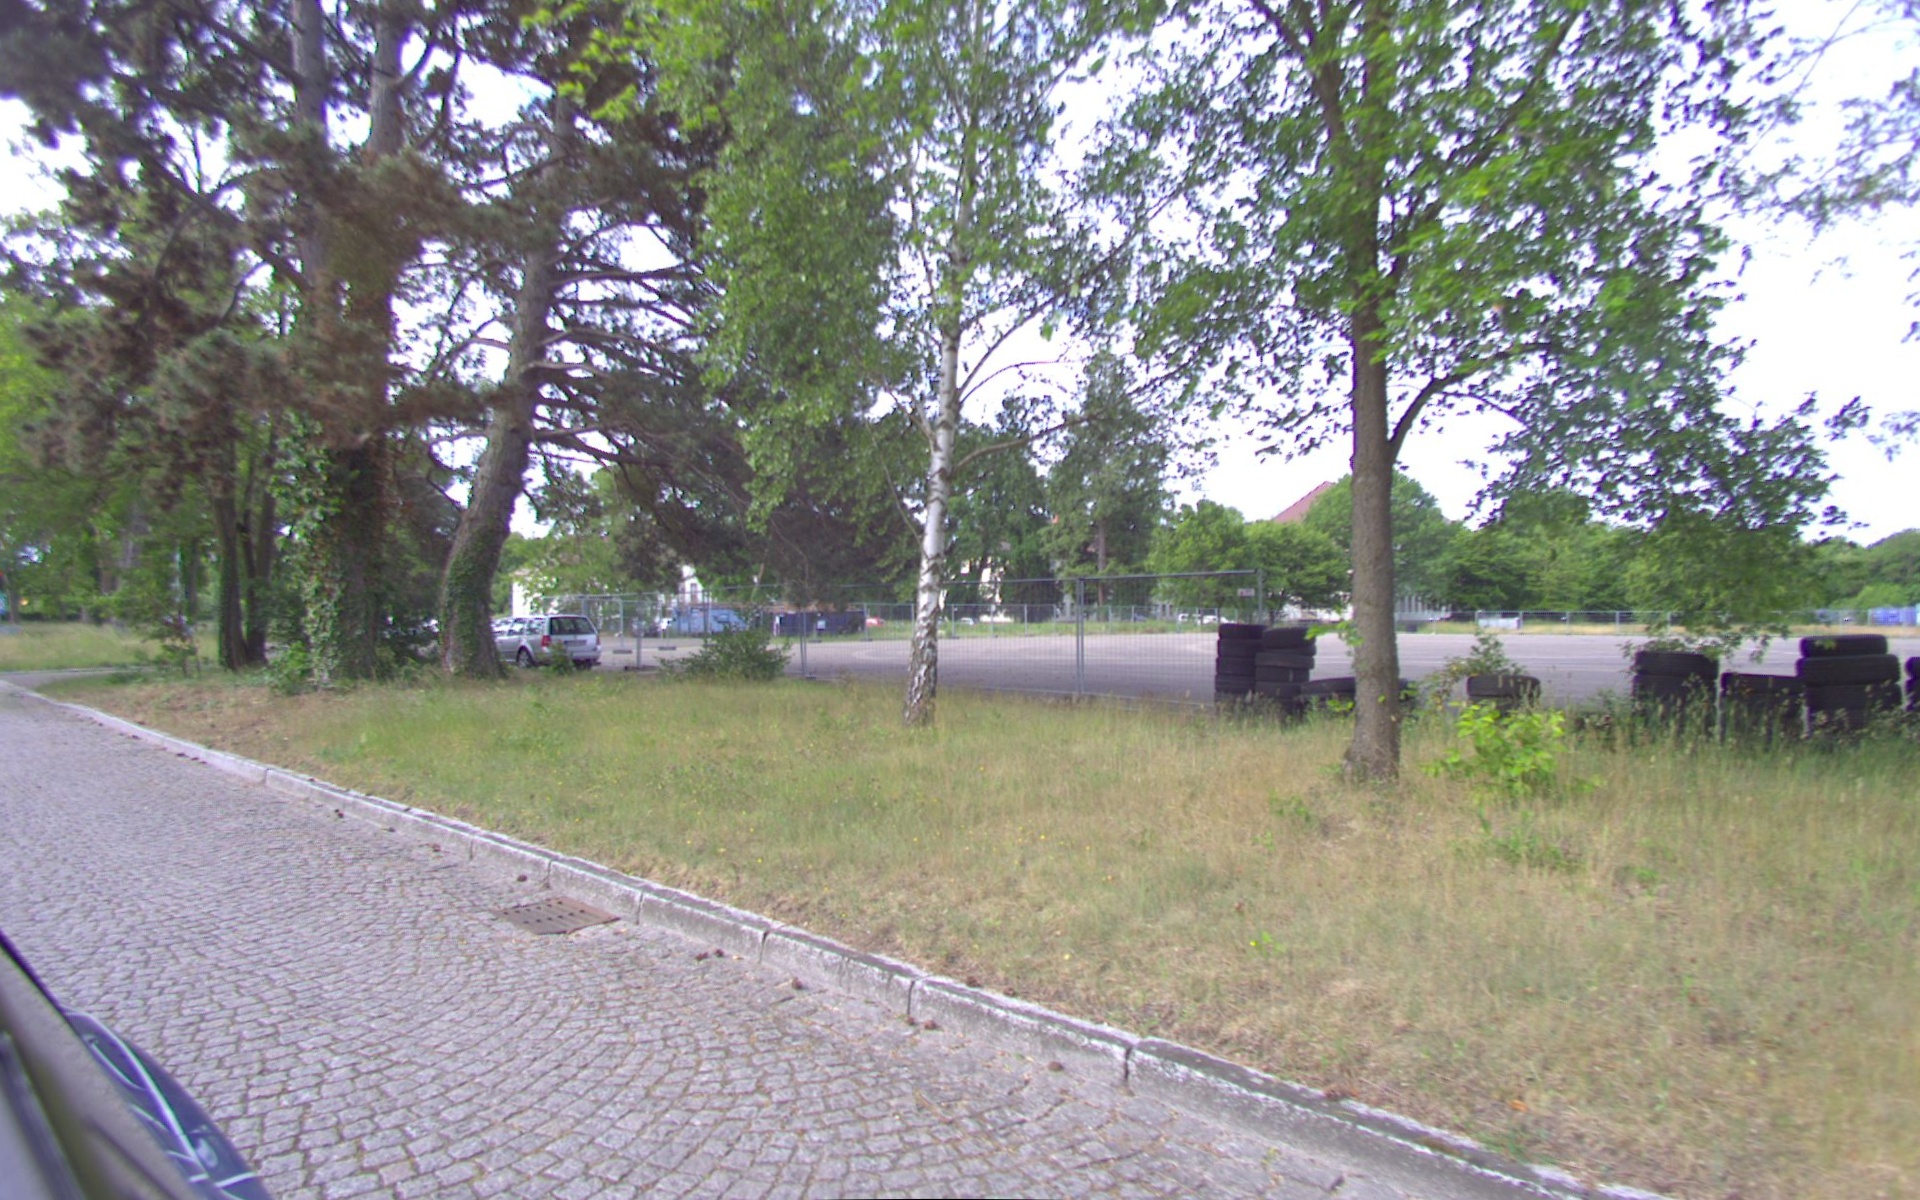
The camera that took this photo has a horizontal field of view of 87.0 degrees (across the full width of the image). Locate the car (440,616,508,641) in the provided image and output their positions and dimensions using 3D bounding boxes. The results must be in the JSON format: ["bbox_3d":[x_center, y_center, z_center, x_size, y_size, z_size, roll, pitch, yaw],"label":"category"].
[{"bbox_3d":[-29.645,1.712,61.655,4.446,1.460,1.975,-1,-1,38],"label":"car"}]

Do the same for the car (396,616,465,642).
[{"bbox_3d":[-31.225,1.703,59.649,4.446,1.460,1.975,-1,-1,38],"label":"car"}]

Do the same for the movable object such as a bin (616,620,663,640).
[{"bbox_3d":[-17.906,1.664,56.511,2.712,1.079,1.046,-1,-1,33],"label":"movable object such as a bin"}]

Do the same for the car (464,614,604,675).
[{"bbox_3d":[-10.629,1.059,25.147,3.719,1.421,1.649,-1,-1,39],"label":"car"}]

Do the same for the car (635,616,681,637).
[{"bbox_3d":[-25.032,2.191,83.835,3.797,1.696,1.728,-1,-1,36],"label":"car"}]

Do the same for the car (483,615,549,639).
[{"bbox_3d":[-28.197,1.723,64.169,4.446,1.460,1.975,-1,-1,38],"label":"car"}]
